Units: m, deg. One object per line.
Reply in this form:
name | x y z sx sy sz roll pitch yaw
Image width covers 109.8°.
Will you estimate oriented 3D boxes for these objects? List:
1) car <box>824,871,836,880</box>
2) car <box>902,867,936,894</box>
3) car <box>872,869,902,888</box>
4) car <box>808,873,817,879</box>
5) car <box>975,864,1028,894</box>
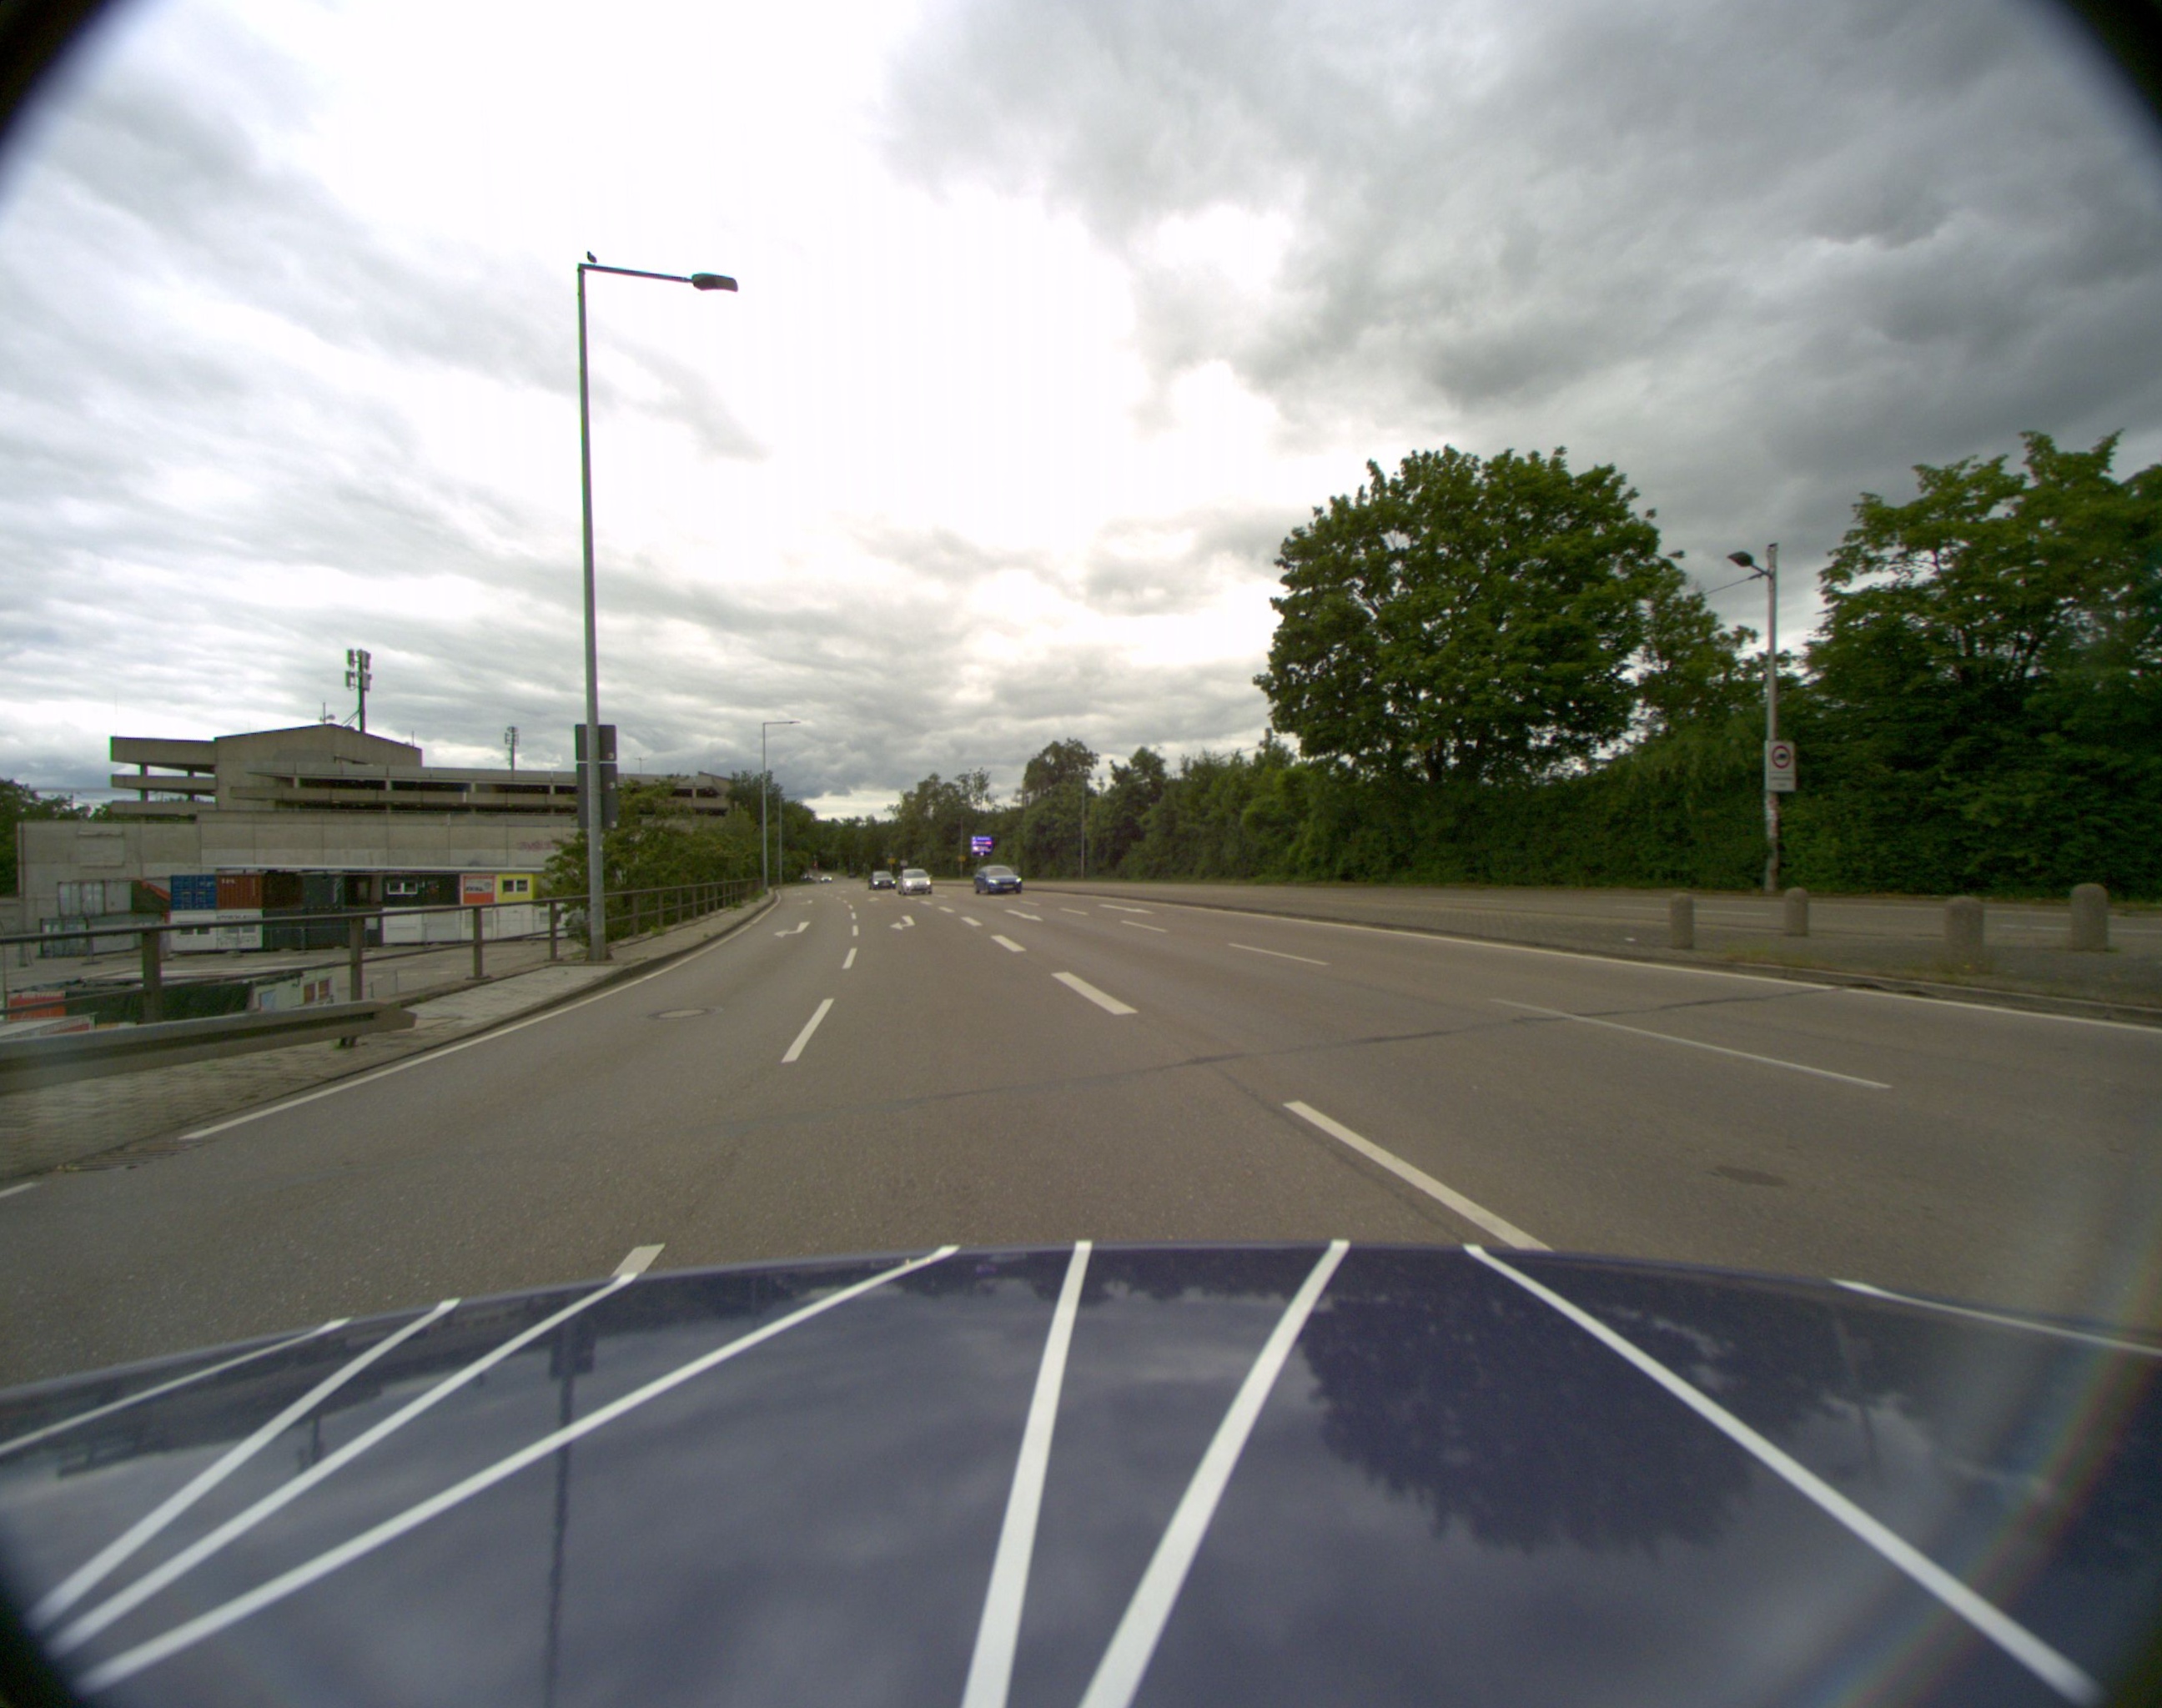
car | -44.921 3.811 135.856 1.867 1.408 4.332 -2 0 -19
car | -9.421 1.507 43.994 1.611 1.408 3.586 -2 0 -17
car | -15.384 1.887 60.034 1.867 1.408 4.332 -2 0 -20
car | -65.097 5.363 184.080 1.868 1.408 4.331 -2 0 -22
car | -4.224 1.245 39.714 1.845 1.408 4.573 -2 0 -18
